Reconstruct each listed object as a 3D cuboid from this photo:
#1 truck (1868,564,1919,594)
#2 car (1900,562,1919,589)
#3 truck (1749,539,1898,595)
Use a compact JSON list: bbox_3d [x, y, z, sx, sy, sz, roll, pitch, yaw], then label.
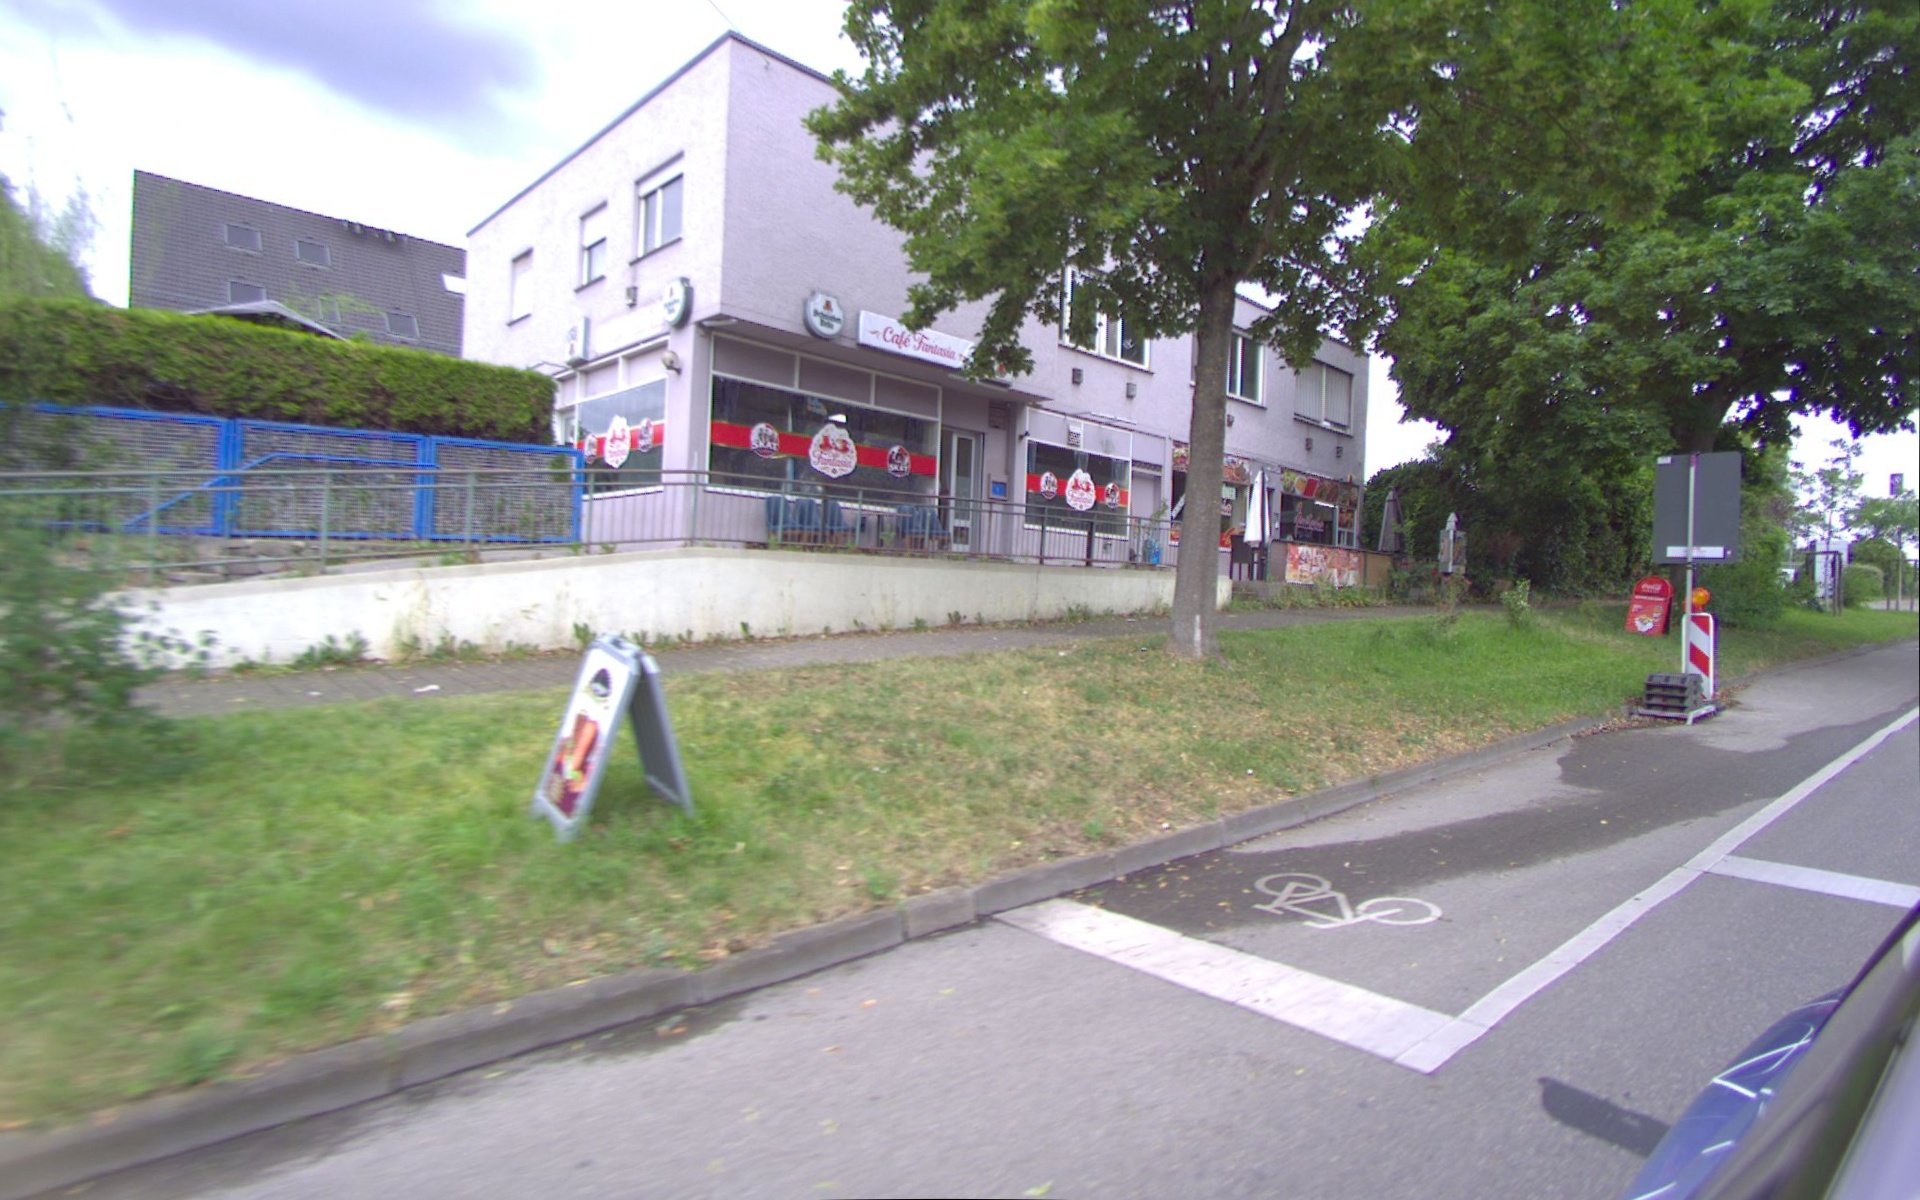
[{"bbox_3d":[73.352,-1.604,76.849,6.200,2.240,2.224,0,1,30],"label":"truck"},{"bbox_3d":[79.243,-1.968,81.220,5.222,2.215,2.048,1,1,33],"label":"car"},{"bbox_3d":[57.050,-2.207,67.117,7.136,3.520,2.588,2,2,33],"label":"truck"}]
